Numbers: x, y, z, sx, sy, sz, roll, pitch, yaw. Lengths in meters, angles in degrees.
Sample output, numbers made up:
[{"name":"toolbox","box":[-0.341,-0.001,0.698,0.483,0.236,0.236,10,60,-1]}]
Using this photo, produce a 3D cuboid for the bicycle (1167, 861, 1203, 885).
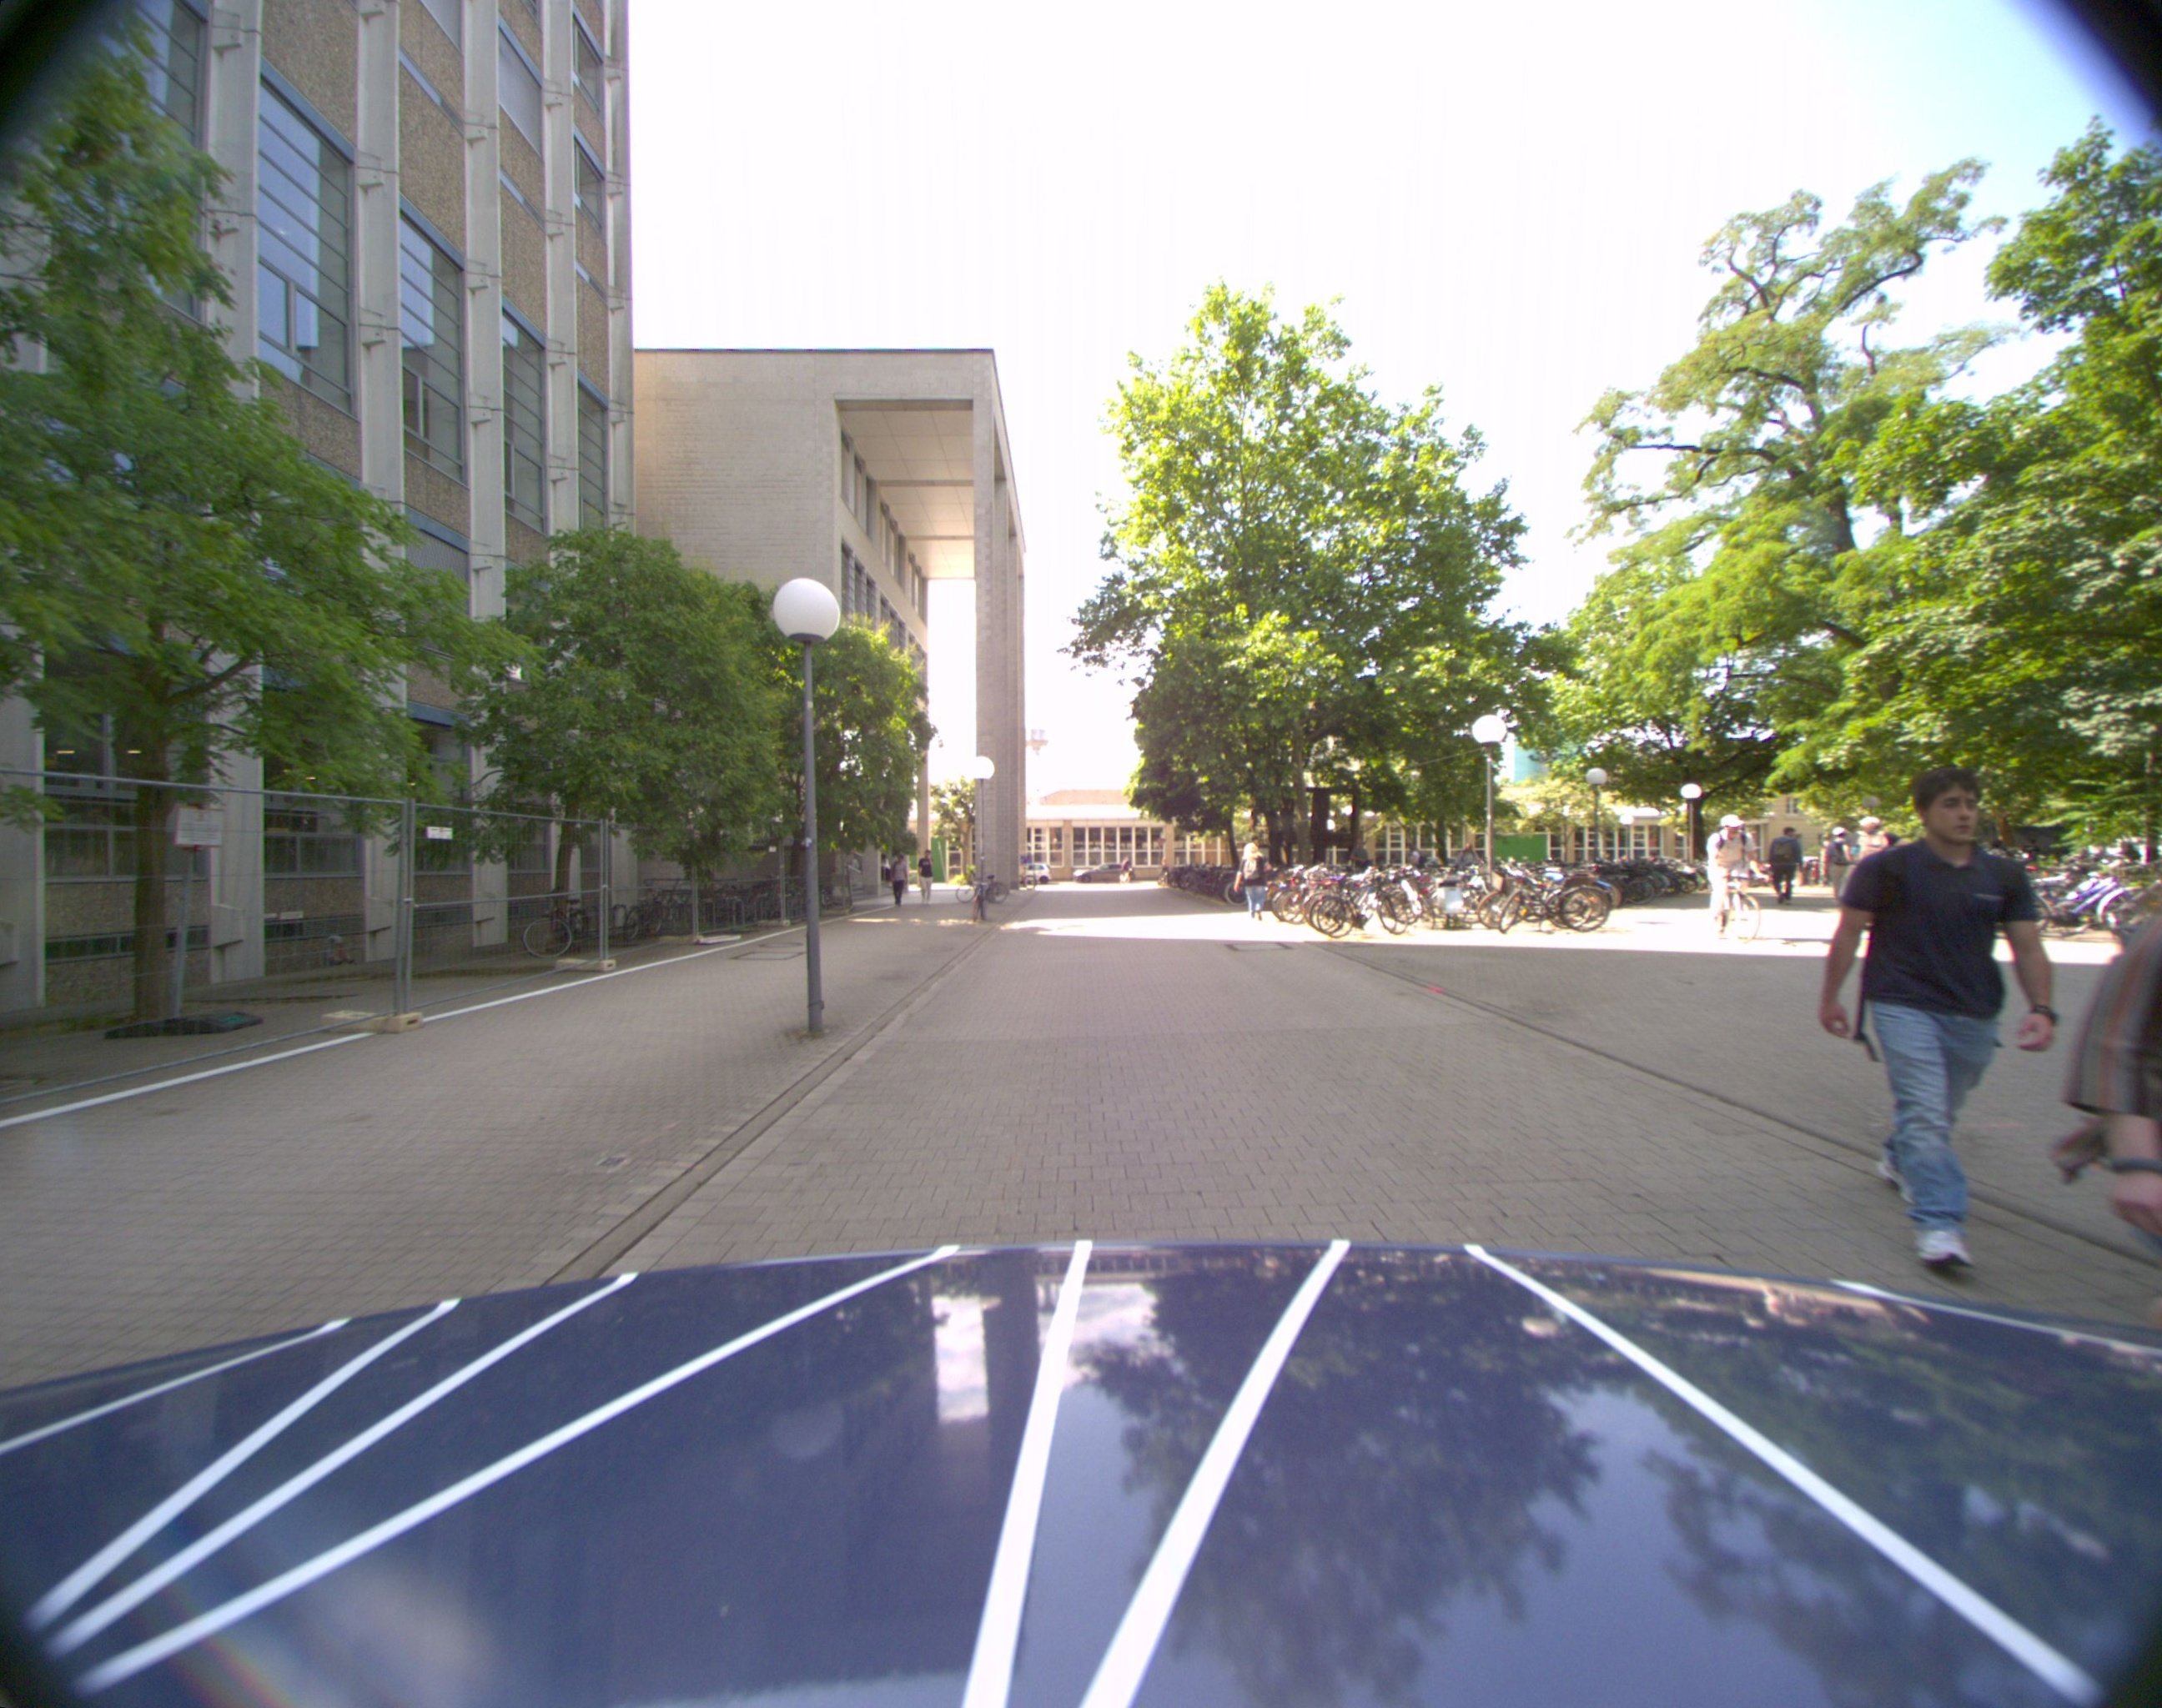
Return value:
[{"name":"bicycle","box":[4.878,0.899,35.774,1.628,1.101,0.497,-2,1,5]}]

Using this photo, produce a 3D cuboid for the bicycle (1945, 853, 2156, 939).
[{"name":"bicycle","box":[13.498,0.566,10.660,1.773,1.104,0.475,-1,1,44]}]

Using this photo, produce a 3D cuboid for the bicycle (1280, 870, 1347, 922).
[{"name":"bicycle","box":[5.275,0.922,17.163,1.702,1.055,0.473,-2,1,-35]}]

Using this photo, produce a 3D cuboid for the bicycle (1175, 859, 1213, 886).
[{"name":"bicycle","box":[5.091,0.821,34.268,1.628,1.144,0.497,-2,1,0]}]

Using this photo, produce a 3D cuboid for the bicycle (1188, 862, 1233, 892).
[{"name":"bicycle","box":[5.003,0.888,29.369,1.627,1.101,0.497,-2,1,14]}]

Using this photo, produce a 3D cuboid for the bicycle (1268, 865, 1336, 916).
[{"name":"bicycle","box":[5.346,0.862,18.367,1.702,1.151,0.473,-2,1,-27]}]

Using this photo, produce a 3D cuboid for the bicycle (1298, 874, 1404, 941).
[{"name":"bicycle","box":[4.759,0.937,13.402,1.699,1.085,0.474,-2,1,-6]}]

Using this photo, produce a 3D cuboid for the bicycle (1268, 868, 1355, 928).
[{"name":"bicycle","box":[4.768,0.893,15.725,1.700,1.161,0.473,-2,1,-13]}]

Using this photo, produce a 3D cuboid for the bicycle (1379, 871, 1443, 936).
[{"name":"bicycle","box":[6.088,0.886,14.082,0.508,1.077,1.700,-2,0,3]}]

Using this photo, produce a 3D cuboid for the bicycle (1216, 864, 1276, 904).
[{"name":"bicycle","box":[4.950,0.892,22.852,1.700,1.139,0.473,-2,1,-12]}]

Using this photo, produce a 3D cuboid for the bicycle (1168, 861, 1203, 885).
[{"name":"bicycle","box":[4.993,0.922,36.322,1.628,1.101,0.506,-2,1,5]}]

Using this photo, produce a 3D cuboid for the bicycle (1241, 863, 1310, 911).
[{"name":"bicycle","box":[5.121,0.854,20.039,1.700,1.181,0.473,-2,1,-11]}]

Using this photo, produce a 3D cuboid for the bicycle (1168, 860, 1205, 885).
[{"name":"bicycle","box":[4.837,0.838,35.052,1.628,1.101,0.691,-2,1,5]}]

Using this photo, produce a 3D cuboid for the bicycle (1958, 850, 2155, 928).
[{"name":"bicycle","box":[14.739,0.522,11.557,1.773,1.104,0.475,-1,1,38]}]

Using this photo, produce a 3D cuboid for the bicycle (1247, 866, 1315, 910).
[{"name":"bicycle","box":[5.411,0.909,20.593,1.700,1.101,0.565,-2,1,-11]}]

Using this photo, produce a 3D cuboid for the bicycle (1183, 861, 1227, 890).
[{"name":"bicycle","box":[5.124,0.884,31.410,1.724,1.101,0.719,-2,1,11]}]

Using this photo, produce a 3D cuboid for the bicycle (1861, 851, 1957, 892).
[{"name":"bicycle","box":[23.291,0.487,21.408,1.773,1.104,0.518,-1,1,42]}]

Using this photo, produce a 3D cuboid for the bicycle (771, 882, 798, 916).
[{"name":"bicycle","box":[-8.420,1.259,21.615,0.291,0.900,1.447,-1,0,-3]}]

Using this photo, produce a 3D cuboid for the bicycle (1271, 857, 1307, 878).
[{"name":"bicycle","box":[11.391,0.736,41.583,1.839,1.101,0.393,-2,1,-7]}]

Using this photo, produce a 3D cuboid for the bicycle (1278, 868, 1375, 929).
[{"name":"bicycle","box":[4.825,0.880,15.015,1.778,1.161,0.474,-2,1,13]}]

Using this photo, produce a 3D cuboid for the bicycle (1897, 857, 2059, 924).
[{"name":"bicycle","box":[15.679,0.620,13.344,1.773,1.104,0.475,-1,1,38]}]

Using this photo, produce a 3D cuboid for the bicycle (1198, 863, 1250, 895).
[{"name":"bicycle","box":[5.108,0.885,27.232,1.739,1.101,0.497,-2,1,0]}]

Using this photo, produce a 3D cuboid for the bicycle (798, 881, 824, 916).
[{"name":"bicycle","box":[-7.607,1.250,21.465,0.291,0.900,1.447,-1,0,-3]}]

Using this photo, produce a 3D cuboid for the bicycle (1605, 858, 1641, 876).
[{"name":"bicycle","box":[34.392,0.799,48.245,1.829,1.102,0.605,0,2,2]}]

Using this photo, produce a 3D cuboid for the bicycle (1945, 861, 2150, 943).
[{"name":"bicycle","box":[13.927,0.667,11.024,1.773,1.104,0.475,-1,1,38]}]

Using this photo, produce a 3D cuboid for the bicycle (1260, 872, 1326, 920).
[{"name":"bicycle","box":[4.901,0.948,17.516,1.702,1.013,0.473,-2,1,-35]}]

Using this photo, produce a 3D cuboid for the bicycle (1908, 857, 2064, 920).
[{"name":"bicycle","box":[16.620,0.621,14.017,1.773,1.104,0.518,-1,1,38]}]

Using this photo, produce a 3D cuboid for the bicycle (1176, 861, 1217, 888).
[{"name":"bicycle","box":[4.916,0.873,32.369,1.629,1.101,0.497,-2,1,-5]}]

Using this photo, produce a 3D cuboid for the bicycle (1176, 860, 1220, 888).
[{"name":"bicycle","box":[5.041,0.859,32.866,1.785,1.155,0.497,-2,1,-5]}]

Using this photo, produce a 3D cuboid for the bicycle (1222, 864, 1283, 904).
[{"name":"bicycle","box":[5.052,0.884,22.394,1.700,1.101,0.473,-2,1,-12]}]

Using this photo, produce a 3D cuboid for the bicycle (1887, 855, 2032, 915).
[{"name":"bicycle","box":[17.035,0.585,14.793,1.773,1.104,0.518,-1,1,38]}]

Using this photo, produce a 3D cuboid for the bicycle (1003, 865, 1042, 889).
[{"name":"bicycle","box":[-2.928,1.143,38.111,1.886,1.157,0.605,1,-1,-5]}]

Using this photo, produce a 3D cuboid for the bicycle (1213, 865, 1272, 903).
[{"name":"bicycle","box":[4.967,0.911,23.377,1.700,1.101,0.496,-2,1,-11]}]

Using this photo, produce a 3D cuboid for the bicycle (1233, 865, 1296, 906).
[{"name":"bicycle","box":[5.324,0.898,22.022,1.700,1.101,0.473,-2,1,-11]}]

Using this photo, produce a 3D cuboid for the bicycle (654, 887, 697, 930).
[{"name":"bicycle","box":[-9.476,1.265,17.794,0.291,0.900,1.447,-1,0,-3]}]

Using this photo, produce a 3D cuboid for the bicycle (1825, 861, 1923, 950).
[{"name":"bicycle","box":[11.206,0.680,10.788,0.473,1.104,1.848,-1,1,31]}]

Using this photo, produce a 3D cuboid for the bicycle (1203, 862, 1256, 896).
[{"name":"bicycle","box":[5.197,0.868,26.612,1.740,1.120,0.497,-2,1,-5]}]

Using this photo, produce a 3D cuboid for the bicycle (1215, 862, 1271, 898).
[{"name":"bicycle","box":[5.349,0.856,25.108,1.741,1.101,0.496,-2,1,-12]}]

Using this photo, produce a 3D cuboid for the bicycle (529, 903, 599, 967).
[{"name":"bicycle","box":[-8.653,1.326,12.773,0.291,0.900,1.618,-1,0,-8]}]

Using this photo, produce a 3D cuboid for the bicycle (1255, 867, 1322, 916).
[{"name":"bicycle","box":[5.132,0.902,18.780,1.702,1.101,0.473,-2,1,-27]}]

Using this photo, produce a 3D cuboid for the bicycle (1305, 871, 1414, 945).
[{"name":"bicycle","box":[4.734,0.898,12.933,1.699,1.152,0.474,-2,1,-9]}]

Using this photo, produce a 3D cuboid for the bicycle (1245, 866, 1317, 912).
[{"name":"bicycle","box":[5.131,0.880,19.511,1.700,1.101,0.582,-2,1,-11]}]

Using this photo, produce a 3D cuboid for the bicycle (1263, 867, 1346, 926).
[{"name":"bicycle","box":[4.795,0.887,16.268,1.701,1.161,0.473,-2,1,-17]}]

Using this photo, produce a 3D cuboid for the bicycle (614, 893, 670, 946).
[{"name":"bicycle","box":[-8.579,1.252,14.909,0.291,0.900,1.804,-1,0,-8]}]

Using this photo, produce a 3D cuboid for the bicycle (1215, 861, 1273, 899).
[{"name":"bicycle","box":[5.227,0.831,24.416,1.739,1.172,0.497,-2,1,-1]}]

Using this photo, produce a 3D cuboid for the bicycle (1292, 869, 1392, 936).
[{"name":"bicycle","box":[4.851,0.886,14.163,1.699,1.161,0.474,-2,1,-6]}]

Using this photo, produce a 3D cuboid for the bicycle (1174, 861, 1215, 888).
[{"name":"bicycle","box":[4.993,0.898,33.501,1.629,1.101,0.645,-2,1,-5]}]

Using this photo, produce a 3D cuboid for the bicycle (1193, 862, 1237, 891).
[{"name":"bicycle","box":[5.278,0.893,29.906,1.627,1.101,0.563,-2,1,14]}]

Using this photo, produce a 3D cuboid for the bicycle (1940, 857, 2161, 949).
[{"name":"bicycle","box":[12.635,0.606,9.961,1.773,1.104,0.475,-1,1,44]}]

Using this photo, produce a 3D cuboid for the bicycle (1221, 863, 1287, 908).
[{"name":"bicycle","box":[4.876,0.876,21.421,1.699,1.191,0.536,-2,1,-8]}]

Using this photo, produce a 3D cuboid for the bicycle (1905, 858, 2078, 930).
[{"name":"bicycle","box":[14.970,0.639,12.561,1.773,1.104,0.475,-1,1,38]}]

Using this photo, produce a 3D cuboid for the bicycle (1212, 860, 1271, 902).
[{"name":"bicycle","box":[5.032,0.832,23.855,1.740,1.228,0.496,-2,1,-7]}]

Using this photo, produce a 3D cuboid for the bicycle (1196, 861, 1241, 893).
[{"name":"bicycle","box":[5.211,0.867,28.759,1.627,1.137,0.497,-2,1,14]}]

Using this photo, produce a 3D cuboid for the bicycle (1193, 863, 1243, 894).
[{"name":"bicycle","box":[5.072,0.894,28.105,1.737,1.101,0.575,-1,1,19]}]

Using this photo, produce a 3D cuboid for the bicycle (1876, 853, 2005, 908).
[{"name":"bicycle","box":[18.325,0.553,16.262,1.773,1.104,0.518,-1,1,42]}]

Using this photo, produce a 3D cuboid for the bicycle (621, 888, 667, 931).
[{"name":"bicycle","box":[-10.220,1.272,17.807,0.291,0.900,1.447,-1,0,-3]}]
